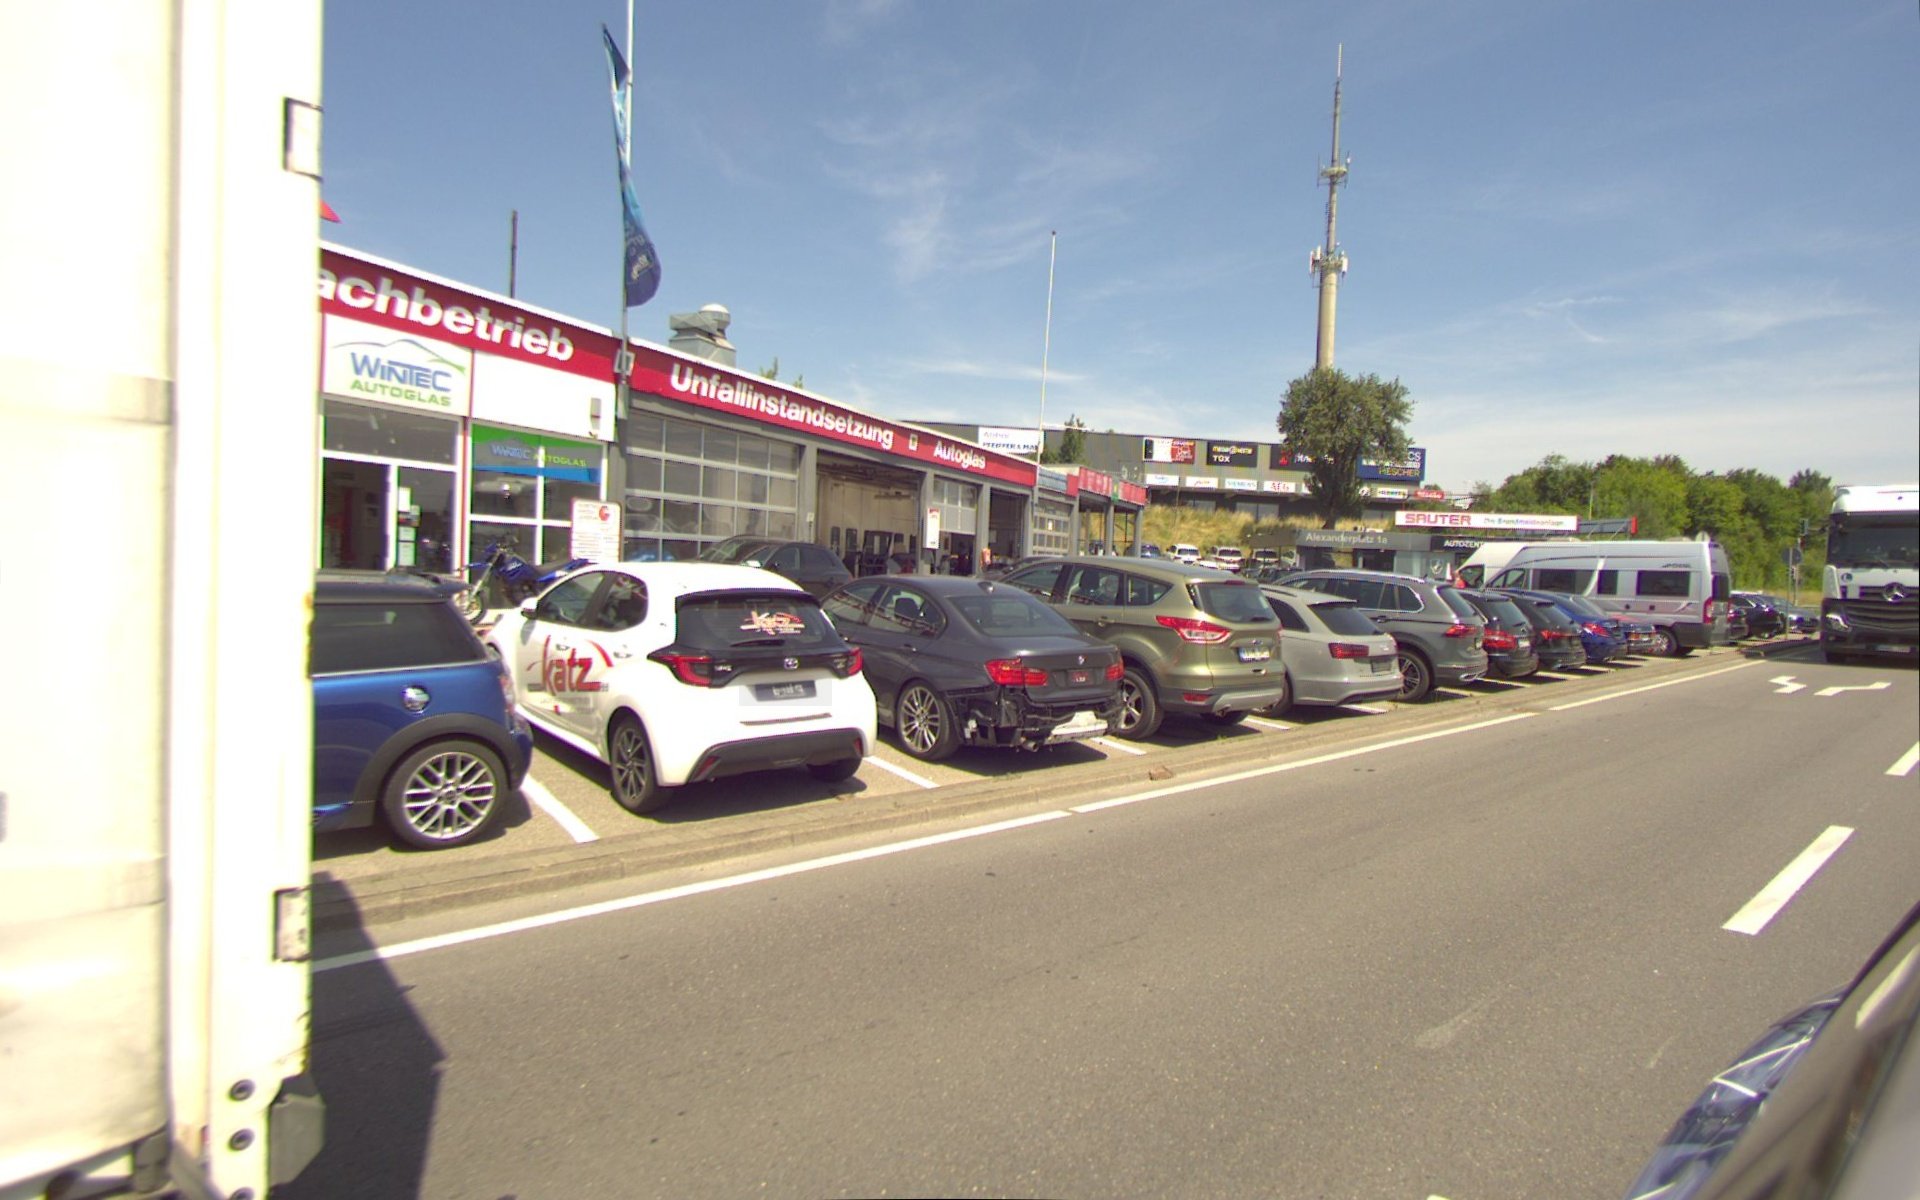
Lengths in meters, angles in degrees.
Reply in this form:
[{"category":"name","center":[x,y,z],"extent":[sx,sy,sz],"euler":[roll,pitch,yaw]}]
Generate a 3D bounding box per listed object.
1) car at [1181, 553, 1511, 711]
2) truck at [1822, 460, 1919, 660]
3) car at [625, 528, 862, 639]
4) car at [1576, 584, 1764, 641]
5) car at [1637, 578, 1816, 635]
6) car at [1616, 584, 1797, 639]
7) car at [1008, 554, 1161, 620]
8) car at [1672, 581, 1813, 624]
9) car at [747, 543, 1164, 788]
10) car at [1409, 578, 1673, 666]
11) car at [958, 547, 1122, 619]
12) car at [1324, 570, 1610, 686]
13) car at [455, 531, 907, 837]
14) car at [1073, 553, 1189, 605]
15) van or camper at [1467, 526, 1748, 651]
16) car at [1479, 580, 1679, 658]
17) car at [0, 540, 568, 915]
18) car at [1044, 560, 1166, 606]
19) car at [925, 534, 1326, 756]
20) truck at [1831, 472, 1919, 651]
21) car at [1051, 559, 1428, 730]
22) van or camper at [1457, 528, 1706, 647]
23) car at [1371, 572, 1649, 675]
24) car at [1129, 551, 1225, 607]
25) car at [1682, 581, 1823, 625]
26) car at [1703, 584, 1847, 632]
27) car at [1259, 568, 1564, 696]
[{"category":"car","center":[5.550,0.318,14.654],"extent":[3.999,1.694,2.175],"euler":[7,5,34]},{"category":"truck","center":[21.755,-0.822,22.819],"extent":[2.975,4.058,6.227],"euler":[5,4,44]},{"category":"car","center":[-3.696,-0.320,18.027],"extent":[1.935,1.677,4.129],"euler":[4,3,26]},{"category":"car","center":[21.212,0.324,30.353],"extent":[2.048,1.518,4.328],"euler":[0,2,-45]},{"category":"car","center":[25.684,0.162,34.124],"extent":[4.287,1.644,2.049],"euler":[3,2,20]},{"category":"car","center":[23.432,0.315,31.868],"extent":[2.048,1.518,4.328],"euler":[0,2,-45]},{"category":"car","center":[3.622,-0.417,29.671],"extent":[3.973,1.593,1.833],"euler":[6,4,33]},{"category":"car","center":[36.239,0.083,46.986],"extent":[4.660,1.571,1.997],"euler":[4,3,7]},{"category":"car","center":[-0.180,0.407,9.269],"extent":[1.803,1.495,3.533],"euler":[0,7,-44]},{"category":"car","center":[12.242,0.373,21.571],"extent":[1.752,1.537,4.523],"euler":[0,3,-41]},{"category":"car","center":[2.126,-0.487,26.953],"extent":[3.959,1.708,1.839],"euler":[3,2,26]},{"category":"car","center":[8.794,0.386,17.773],"extent":[1.947,1.499,4.016],"euler":[0,6,-45]},{"category":"car","center":[-2.278,0.401,7.704],"extent":[1.803,1.495,3.533],"euler":[0,7,-44]},{"category":"car","center":[5.865,-0.755,34.641],"extent":[3.564,1.464,1.666],"euler":[1,10,27]},{"category":"van or camper","center":[15.988,-0.359,25.287],"extent":[2.193,2.764,5.486],"euler":[0,2,-41]},{"category":"car","center":[14.183,0.375,23.321],"extent":[1.726,1.512,3.548],"euler":[0,3,-41]},{"category":"car","center":[-4.395,0.501,5.275],"extent":[3.930,1.450,1.999],"euler":[-1,7,-41]},{"category":"car","center":[4.638,-0.535,32.443],"extent":[3.562,1.391,1.663],"euler":[1,0,25]},{"category":"car","center":[1.624,0.303,10.971],"extent":[1.910,1.711,3.865],"euler":[0,6,-41]},{"category":"truck","center":[26.677,-0.893,28.004],"extent":[2.975,4.058,13.900],"euler":[5,4,43]},{"category":"car","center":[3.327,0.403,12.638],"extent":[1.763,1.438,4.142],"euler":[0,7,-44]},{"category":"van or camper","center":[16.924,-0.407,27.821],"extent":[2.193,2.941,5.379],"euler":[0,2,-41]},{"category":"car","center":[10.610,0.358,19.719],"extent":[2.128,1.429,4.270],"euler":[0,6,-45]},{"category":"car","center":[8.953,-0.926,41.907],"extent":[1.652,1.593,3.602],"euler":[-16,16,-35]},{"category":"car","center":[34.792,0.100,44.573],"extent":[4.414,1.426,1.739],"euler":[6,3,15]},{"category":"car","center":[33.034,0.264,41.249],"extent":[1.892,1.403,4.936],"euler":[3,5,2]},{"category":"car","center":[7.203,0.404,16.409],"extent":[1.947,1.499,4.016],"euler":[0,6,-45]}]
